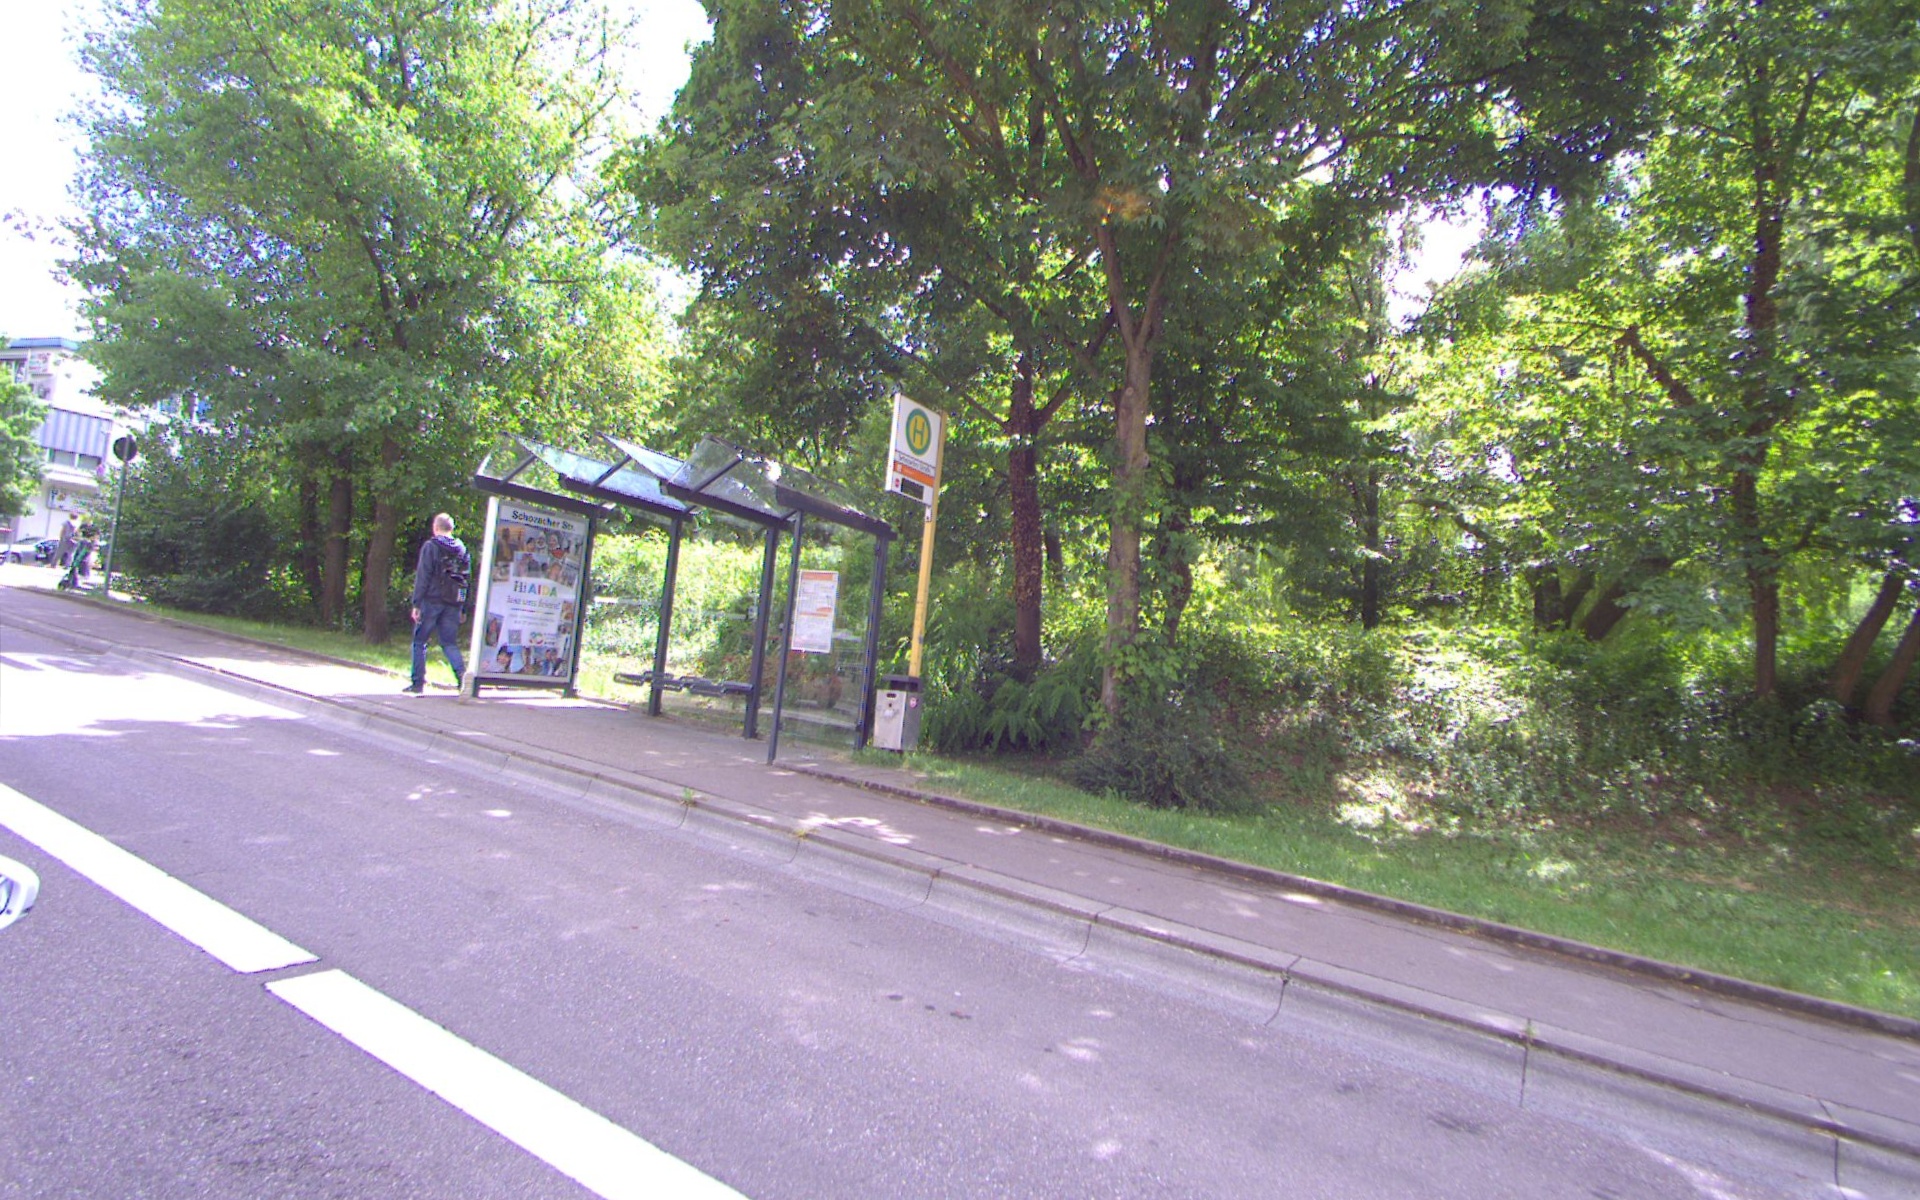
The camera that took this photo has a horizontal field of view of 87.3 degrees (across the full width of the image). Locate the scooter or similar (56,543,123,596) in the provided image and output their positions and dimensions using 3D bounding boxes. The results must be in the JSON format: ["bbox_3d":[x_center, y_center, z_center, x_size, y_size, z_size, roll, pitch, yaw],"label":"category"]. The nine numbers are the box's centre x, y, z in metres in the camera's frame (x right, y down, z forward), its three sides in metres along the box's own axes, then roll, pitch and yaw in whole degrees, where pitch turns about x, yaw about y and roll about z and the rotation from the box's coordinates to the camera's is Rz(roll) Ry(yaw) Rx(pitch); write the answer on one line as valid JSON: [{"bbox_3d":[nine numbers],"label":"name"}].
[{"bbox_3d":[-20.405,-0.704,23.598,0.325,1.112,1.153,7,-2,9],"label":"scooter or similar"}]

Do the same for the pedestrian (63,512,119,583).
[{"bbox_3d":[-24.085,-1.453,27.885,0.752,1.808,0.566,10,-4,-21],"label":"pedestrian"}]

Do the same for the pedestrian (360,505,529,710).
[{"bbox_3d":[-5.296,0.069,10.338,1.250,1.916,0.803,6,-2,33],"label":"pedestrian"}]

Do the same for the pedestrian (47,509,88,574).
[{"bbox_3d":[-26.805,-1.748,30.219,0.611,1.808,0.562,12,-5,-40],"label":"pedestrian"}]

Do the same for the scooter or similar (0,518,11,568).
[{"bbox_3d":[-25.085,-1.519,25.674,0.326,1.273,1.111,7,-1,20],"label":"scooter or similar"}]

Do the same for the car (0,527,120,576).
[{"bbox_3d":[-36.541,-1.978,40.064,1.682,1.410,4.339,7,-2,23],"label":"car"}]

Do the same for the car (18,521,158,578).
[{"bbox_3d":[-33.591,-1.916,38.872,1.679,1.619,3.592,6,-2,20],"label":"car"}]
